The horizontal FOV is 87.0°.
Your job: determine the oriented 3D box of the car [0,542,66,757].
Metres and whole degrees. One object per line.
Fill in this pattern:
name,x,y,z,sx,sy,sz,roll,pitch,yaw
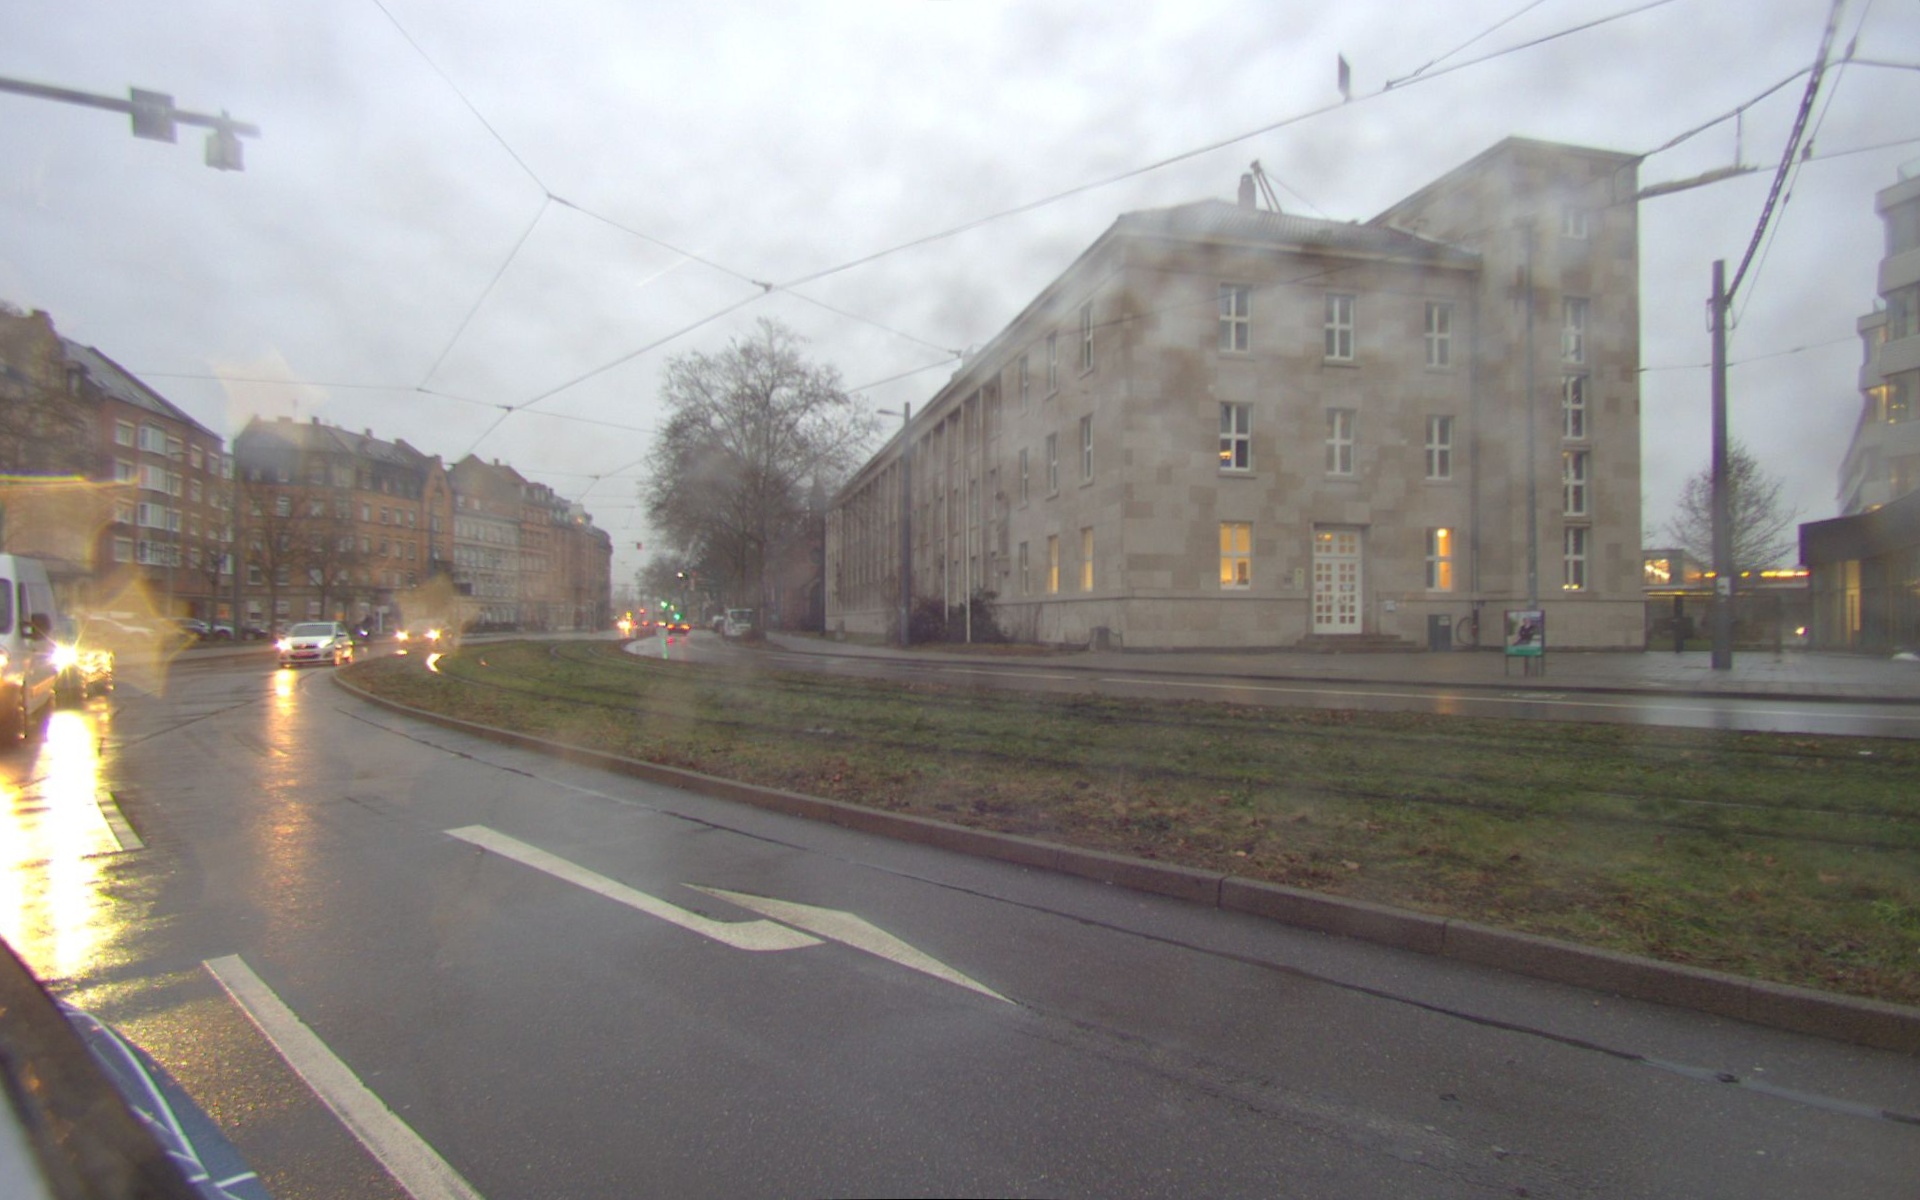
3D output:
car,-13.487,0.618,13.343,2.207,2.481,5.681,0,-1,-38

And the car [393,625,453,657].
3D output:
car,-26.683,2.003,50.405,1.810,1.545,3.826,0,-2,-14

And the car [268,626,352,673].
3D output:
car,-21.687,1.607,33.901,1.661,1.441,3.357,0,-1,-20

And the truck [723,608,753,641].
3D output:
truck,-14.282,1.564,65.079,1.808,2.060,4.010,0,-2,-13

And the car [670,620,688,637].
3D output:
car,-27.552,2.756,99.099,1.662,1.652,3.657,0,-2,-16

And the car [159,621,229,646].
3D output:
car,-43.726,1.907,57.866,3.134,1.424,1.385,1,-2,-35

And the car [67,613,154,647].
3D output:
car,-41.538,1.453,49.554,3.135,1.636,1.431,1,-2,-37

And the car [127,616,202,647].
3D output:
car,-43.108,1.686,54.885,3.135,1.636,1.449,1,-2,-37

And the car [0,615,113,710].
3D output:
car,-18.235,1.160,20.071,1.846,1.701,4.181,0,-1,-35

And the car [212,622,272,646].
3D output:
car,-46.648,2.189,65.801,3.134,1.494,1.385,1,-2,-35

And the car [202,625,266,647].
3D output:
car,-44.331,2.161,61.829,3.134,1.293,1.385,1,-2,-35

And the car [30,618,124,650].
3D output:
car,-40.926,1.579,46.982,3.135,1.440,1.431,1,-2,-37
